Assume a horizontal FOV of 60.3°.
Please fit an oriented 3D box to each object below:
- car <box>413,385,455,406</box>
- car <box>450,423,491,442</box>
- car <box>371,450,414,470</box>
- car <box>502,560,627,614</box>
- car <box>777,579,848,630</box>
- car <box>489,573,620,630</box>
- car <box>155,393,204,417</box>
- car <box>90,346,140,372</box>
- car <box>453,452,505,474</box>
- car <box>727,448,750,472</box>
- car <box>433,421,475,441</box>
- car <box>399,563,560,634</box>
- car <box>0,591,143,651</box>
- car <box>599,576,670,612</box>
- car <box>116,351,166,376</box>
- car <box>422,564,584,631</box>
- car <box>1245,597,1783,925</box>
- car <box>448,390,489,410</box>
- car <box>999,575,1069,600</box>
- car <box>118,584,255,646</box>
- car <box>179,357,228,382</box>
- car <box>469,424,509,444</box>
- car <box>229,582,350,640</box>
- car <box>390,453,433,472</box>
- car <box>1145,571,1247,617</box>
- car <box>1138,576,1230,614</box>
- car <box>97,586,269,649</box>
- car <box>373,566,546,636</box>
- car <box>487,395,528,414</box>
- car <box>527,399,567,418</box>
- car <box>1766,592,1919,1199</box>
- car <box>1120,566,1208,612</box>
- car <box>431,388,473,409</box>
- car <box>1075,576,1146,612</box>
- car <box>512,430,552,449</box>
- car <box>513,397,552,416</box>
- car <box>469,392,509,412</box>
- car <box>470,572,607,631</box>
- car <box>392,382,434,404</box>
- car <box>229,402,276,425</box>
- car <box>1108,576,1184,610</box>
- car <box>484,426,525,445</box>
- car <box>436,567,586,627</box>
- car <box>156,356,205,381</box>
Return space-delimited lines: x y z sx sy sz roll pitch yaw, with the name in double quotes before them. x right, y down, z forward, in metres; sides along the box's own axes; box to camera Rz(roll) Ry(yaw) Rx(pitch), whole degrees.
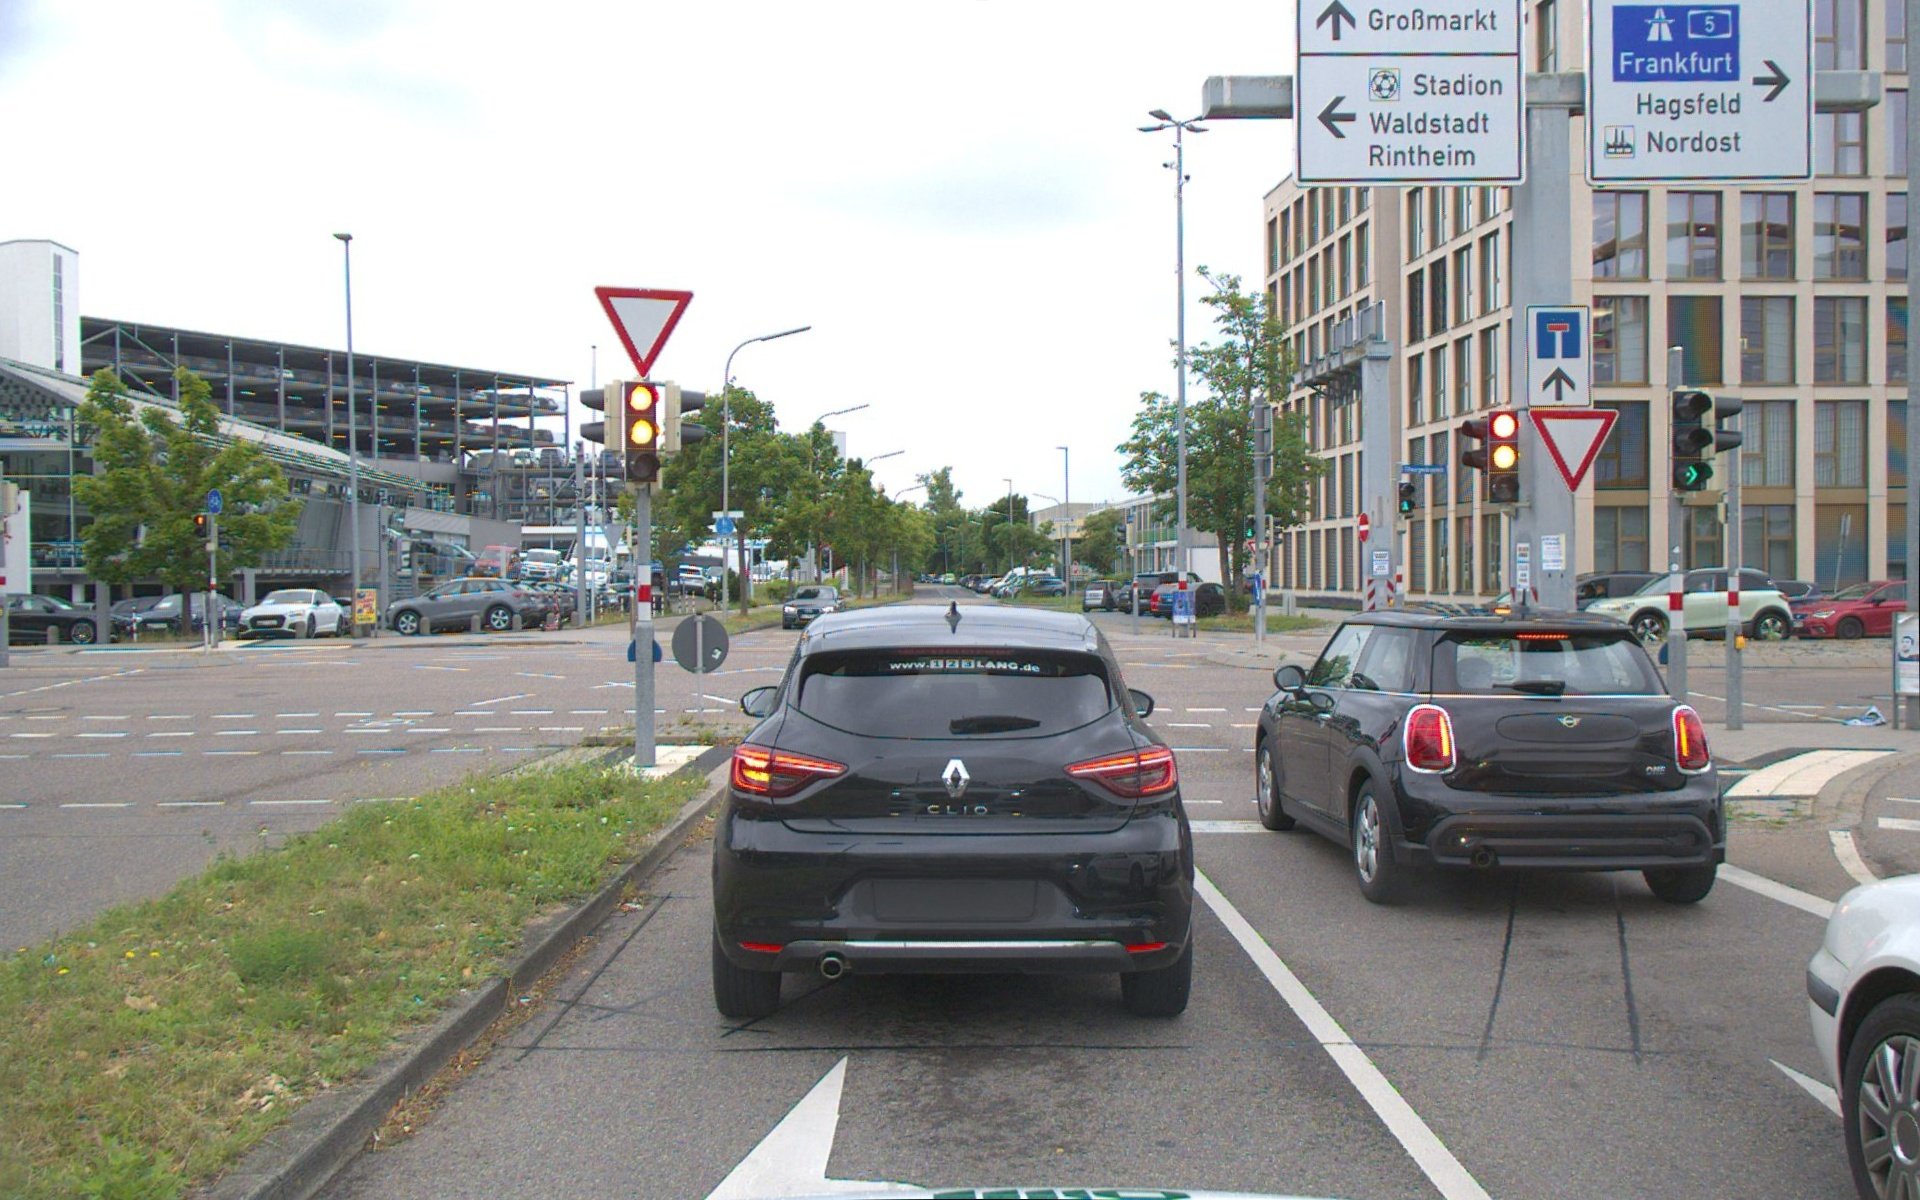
"car" -53.084 -20.625 166.824 3.914 1.696 1.996 1 1 31
"car" -50.669 -17.299 171.118 3.914 1.696 1.996 1 1 31
"car" -55.745 -13.776 162.362 3.914 1.696 1.996 1 1 31
"car" -16.630 -0.543 69.768 4.798 2.049 1.998 -2 0 -6
"car" -4.872 0.111 55.157 1.938 1.578 4.614 0 1 0
"car" -16.363 0.051 66.939 4.798 2.049 1.998 -2 0 -6
"car" -67.185 -16.789 142.337 3.914 1.696 1.996 1 1 31
"car" -70.385 -20.030 137.729 3.914 1.696 1.996 1 1 31
"car" -50.659 -14.419 174.116 5.212 1.979 2.208 1 1 28
"car" -21.200 -13.379 158.538 1.955 1.915 3.996 -1 0 -5
"car" -51.765 -17.242 169.140 3.914 1.696 1.996 1 1 31
"car" -15.422 -0.038 53.288 4.610 2.049 1.998 -2 0 -5
"car" -25.326 0.595 45.592 4.646 1.512 1.891 -1 -2 -4
"car" -19.374 -0.358 98.600 3.908 2.049 1.999 1 0 -4
"car" -69.309 -20.002 139.922 3.914 1.696 1.996 1 1 31
"car" -15.486 -0.089 56.295 4.925 2.049 2.263 -2 0 -5
"car" 2.795 0.731 9.217 1.749 1.440 3.643 1 0 0
"car" -50.934 -20.696 171.459 3.914 1.696 1.996 1 1 31
"car" 5.523 -0.909 123.801 5.070 1.750 2.142 1 0 -3
"car" -21.349 0.467 45.842 2.023 1.512 4.510 -2 -2 -6
"car" -66.156 -20.145 144.628 3.914 1.696 1.996 1 1 31
"car" -49.444 -17.408 173.661 3.914 1.696 1.996 1 1 31
"car" -18.598 0.337 46.075 1.832 1.512 4.226 -1 -1 -4
"car" -54.675 -13.671 164.811 3.914 1.696 1.996 1 1 31
"car" 9.558 -0.239 66.778 4.096 1.799 1.861 0 0 -41
"car" 9.660 -0.210 71.167 1.857 1.578 4.105 -1 0 44
"car" -25.804 0.551 55.056 4.706 1.973 1.999 -1 1 -4
"car" -15.282 0.034 50.720 4.680 1.895 1.998 -2 0 -6
"car" -48.101 -20.789 175.818 3.914 1.696 1.996 1 1 31
"car" -45.242 -20.937 181.159 3.914 1.696 1.996 1 1 31
"car" 3.081 0.744 2.423 1.795 1.504 4.004 1 0 -1
"car" 9.203 -0.496 74.362 1.963 2.000 4.221 -1 0 41
"car" -52.048 -20.614 169.464 3.914 1.696 1.996 1 1 31
"car" 7.658 -0.303 84.053 3.405 1.762 1.739 1 -1 -43
"car" -46.301 -17.369 179.017 3.914 1.696 1.996 1 1 31
"car" -46.309 -20.915 179.199 3.914 1.696 1.996 1 1 31
"car" -49.455 -20.825 173.688 3.914 1.696 1.996 1 1 31
"car" -16.323 0.071 64.219 4.798 2.049 1.998 -2 0 -6
"car" -54.400 -20.574 164.503 3.914 1.696 1.996 1 1 31
"car" -63.564 -16.705 148.568 3.914 1.696 1.996 1 1 31
"car" 8.770 -0.323 77.758 1.667 1.537 3.794 -1 0 42
"car" -48.379 -17.464 175.634 3.914 1.696 1.996 1 1 31
"car" -15.938 -0.097 58.916 4.853 1.909 2.051 -2 0 -7
"car" -67.165 -19.954 142.432 3.914 1.696 1.996 1 1 31
